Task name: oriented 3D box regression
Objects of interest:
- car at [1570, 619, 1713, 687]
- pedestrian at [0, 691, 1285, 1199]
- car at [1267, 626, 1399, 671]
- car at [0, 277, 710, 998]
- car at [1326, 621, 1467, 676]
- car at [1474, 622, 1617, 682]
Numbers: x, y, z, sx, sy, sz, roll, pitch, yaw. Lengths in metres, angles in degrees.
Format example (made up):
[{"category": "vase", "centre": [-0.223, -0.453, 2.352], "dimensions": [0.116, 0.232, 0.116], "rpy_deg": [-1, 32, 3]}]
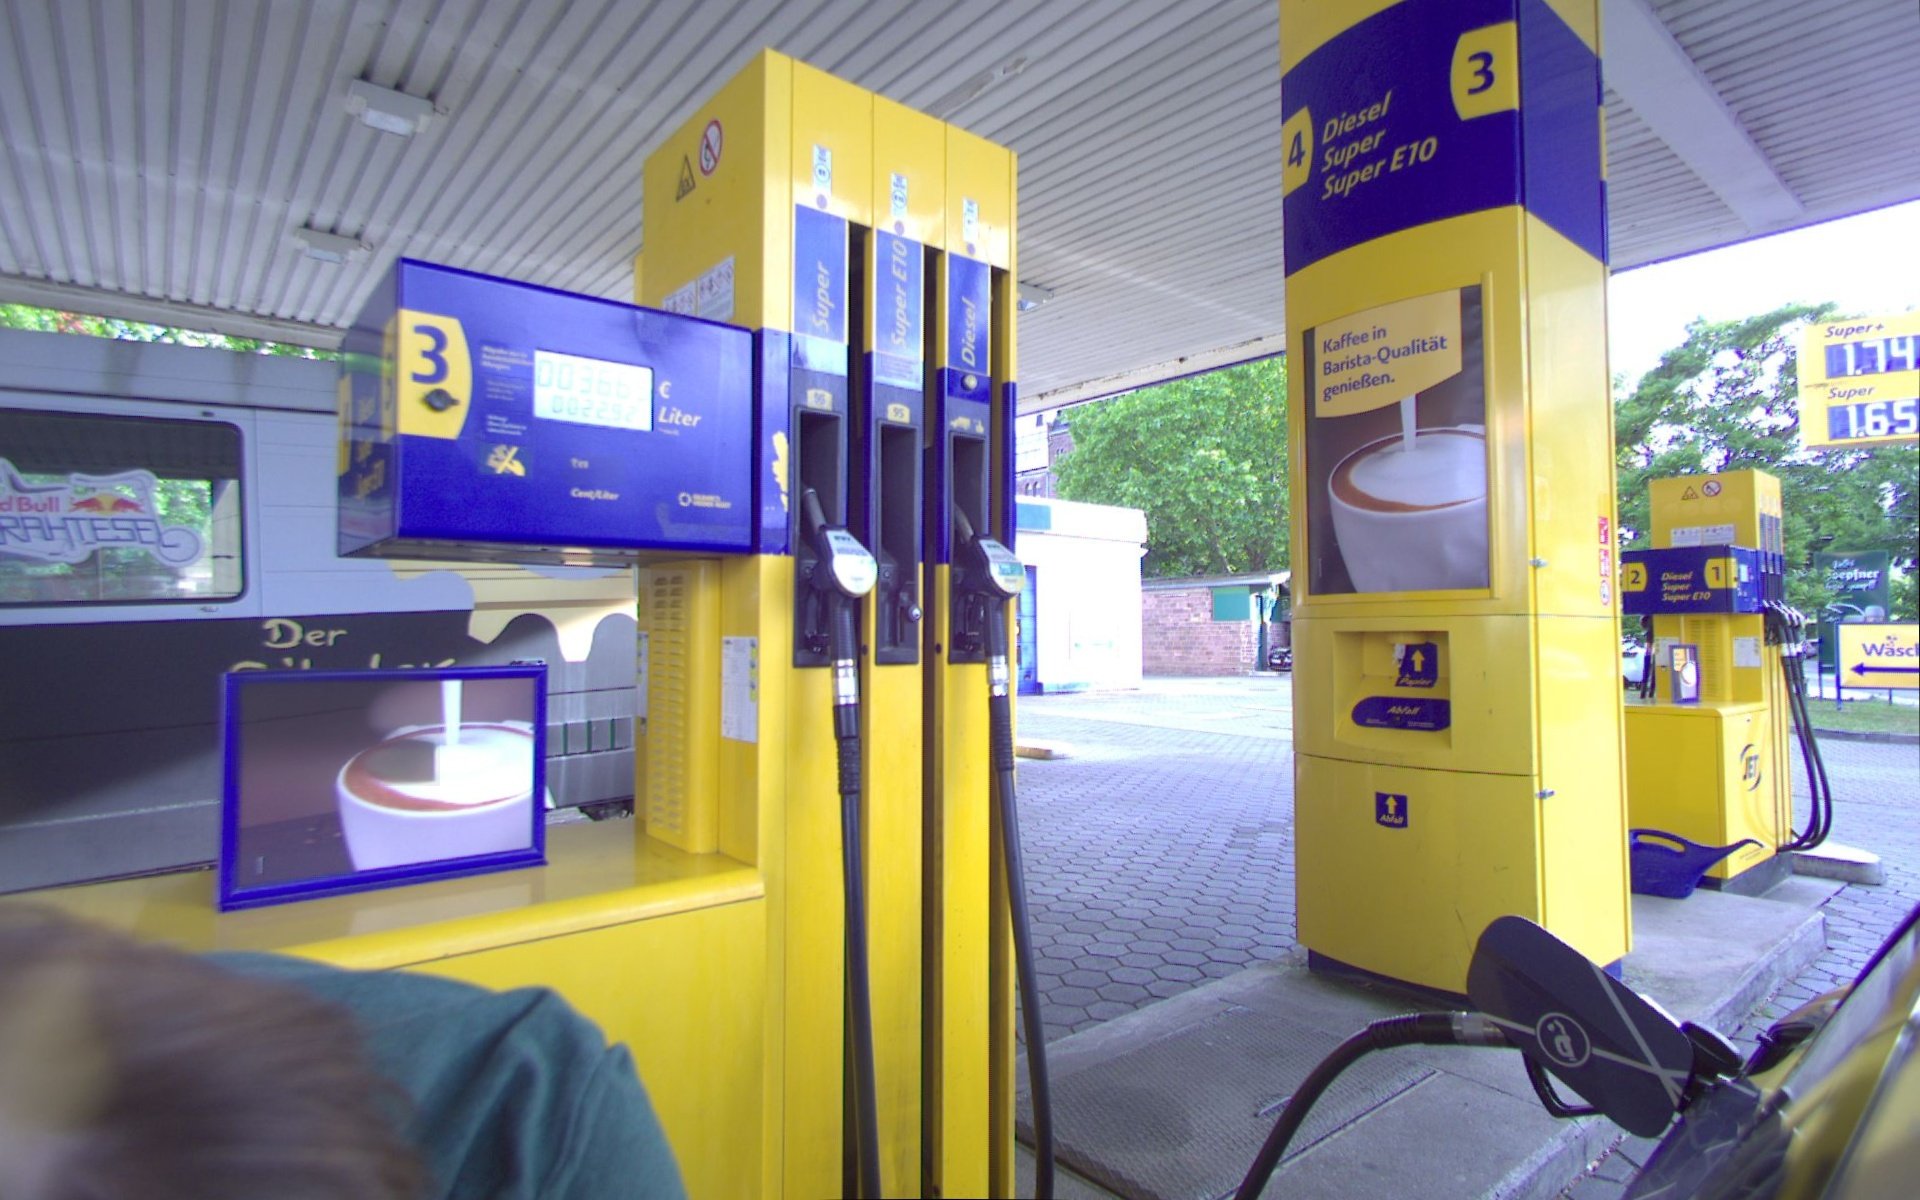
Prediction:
[{"category": "car", "centre": [18.356, 1.448, 27.205], "dimensions": [4.308, 1.622, 1.774], "rpy_deg": [4, -4, -35]}, {"category": "pedestrian", "centre": [-0.334, 0.749, 0.548], "dimensions": [0.662, 1.298, 0.751], "rpy_deg": [0, 0, -41]}, {"category": "car", "centre": [12.690, 1.655, 34.431], "dimensions": [4.303, 1.393, 1.777], "rpy_deg": [2, -1, -28]}, {"category": "car", "centre": [-4.109, 0.160, 4.896], "dimensions": [5.197, 2.726, 2.258], "rpy_deg": [1, -2, -39]}, {"category": "car", "centre": [13.886, 1.532, 32.139], "dimensions": [4.303, 1.622, 1.777], "rpy_deg": [2, -1, -28]}, {"category": "car", "centre": [17.846, 1.591, 30.804], "dimensions": [4.303, 1.622, 1.776], "rpy_deg": [4, -4, -28]}]
